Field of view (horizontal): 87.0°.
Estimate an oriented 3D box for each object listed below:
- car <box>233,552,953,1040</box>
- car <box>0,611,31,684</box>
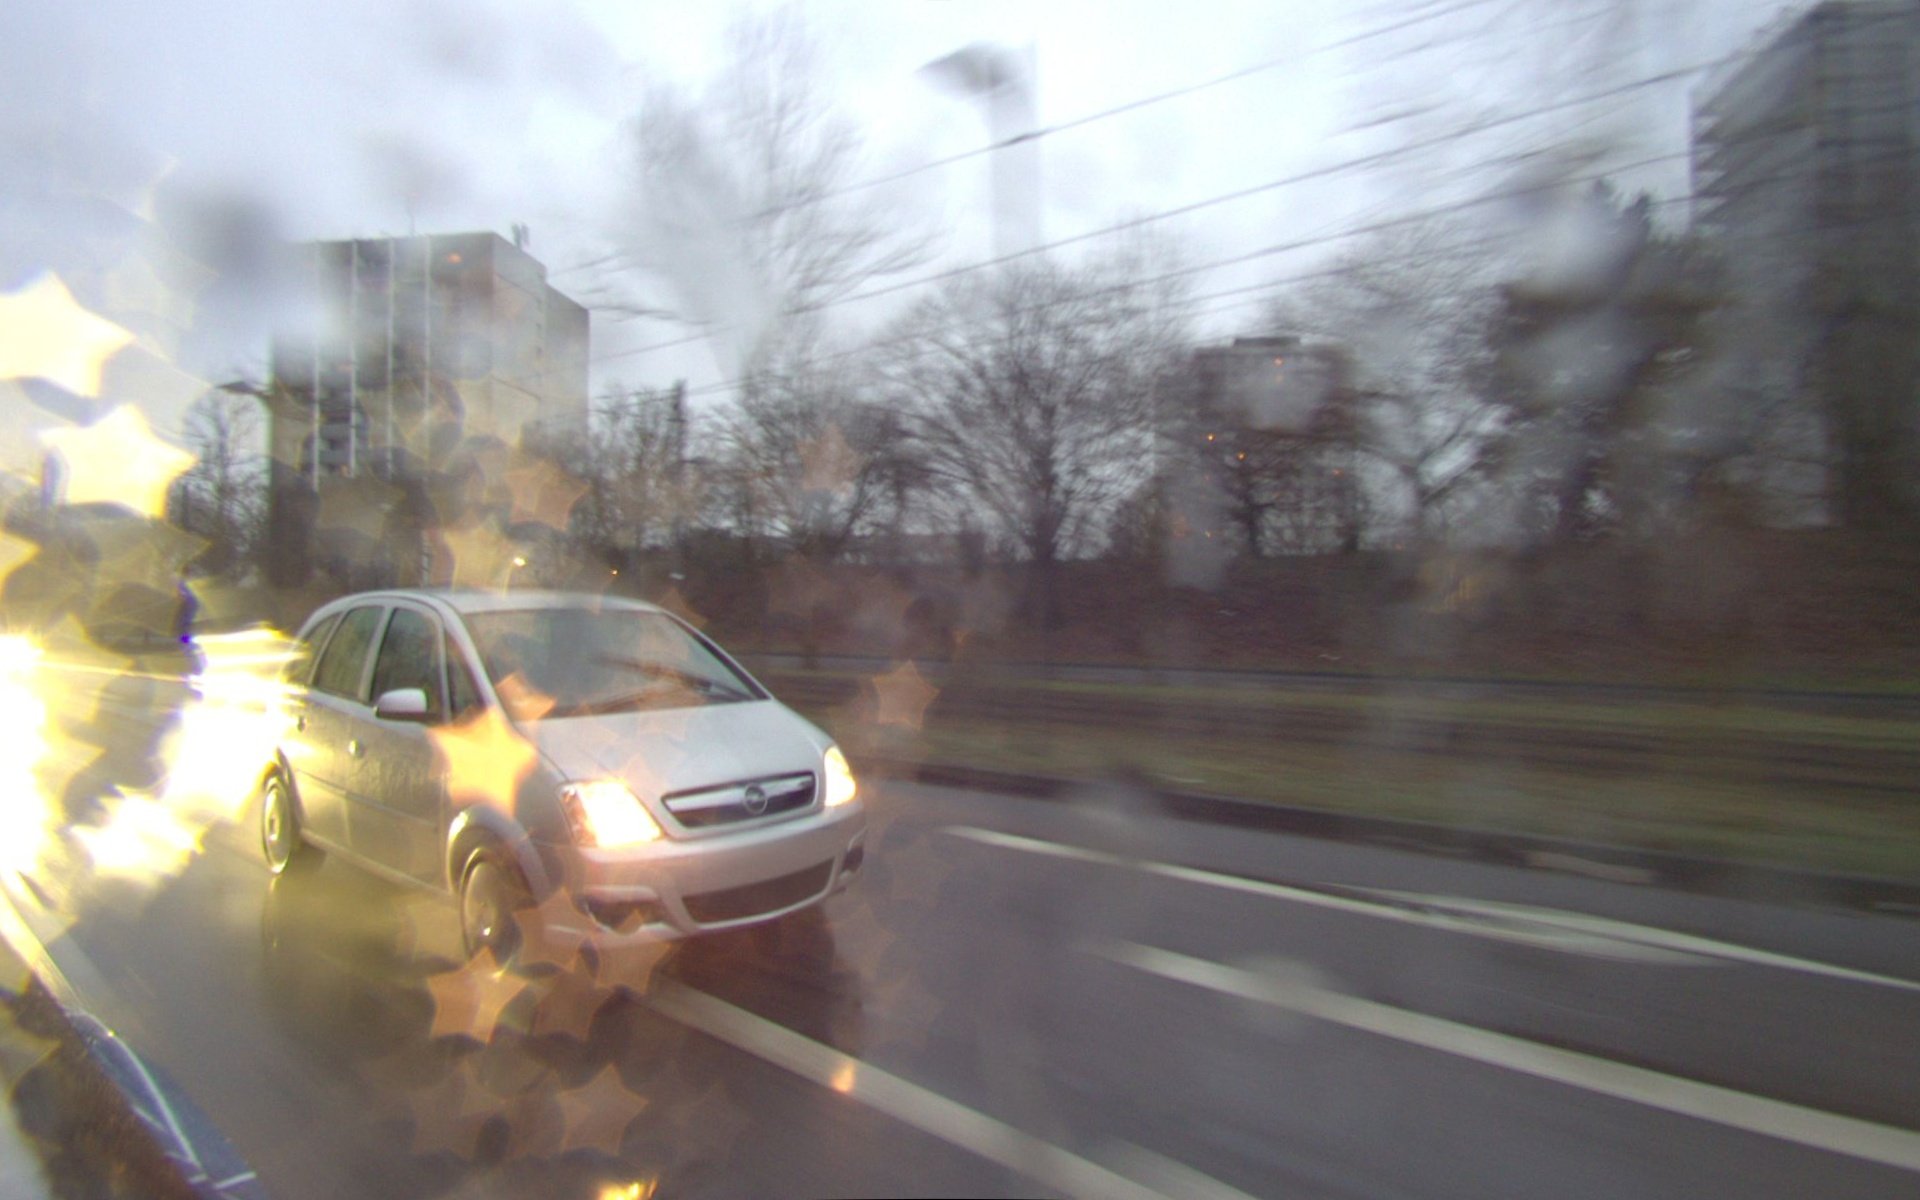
[{"bbox_3d":[-2.161,0.648,5.235,4.187,1.551,1.672,-1,0,41],"label":"car"},{"bbox_3d":[-23.210,1.076,23.425,4.120,1.612,1.928,-1,-2,39],"label":"car"}]
